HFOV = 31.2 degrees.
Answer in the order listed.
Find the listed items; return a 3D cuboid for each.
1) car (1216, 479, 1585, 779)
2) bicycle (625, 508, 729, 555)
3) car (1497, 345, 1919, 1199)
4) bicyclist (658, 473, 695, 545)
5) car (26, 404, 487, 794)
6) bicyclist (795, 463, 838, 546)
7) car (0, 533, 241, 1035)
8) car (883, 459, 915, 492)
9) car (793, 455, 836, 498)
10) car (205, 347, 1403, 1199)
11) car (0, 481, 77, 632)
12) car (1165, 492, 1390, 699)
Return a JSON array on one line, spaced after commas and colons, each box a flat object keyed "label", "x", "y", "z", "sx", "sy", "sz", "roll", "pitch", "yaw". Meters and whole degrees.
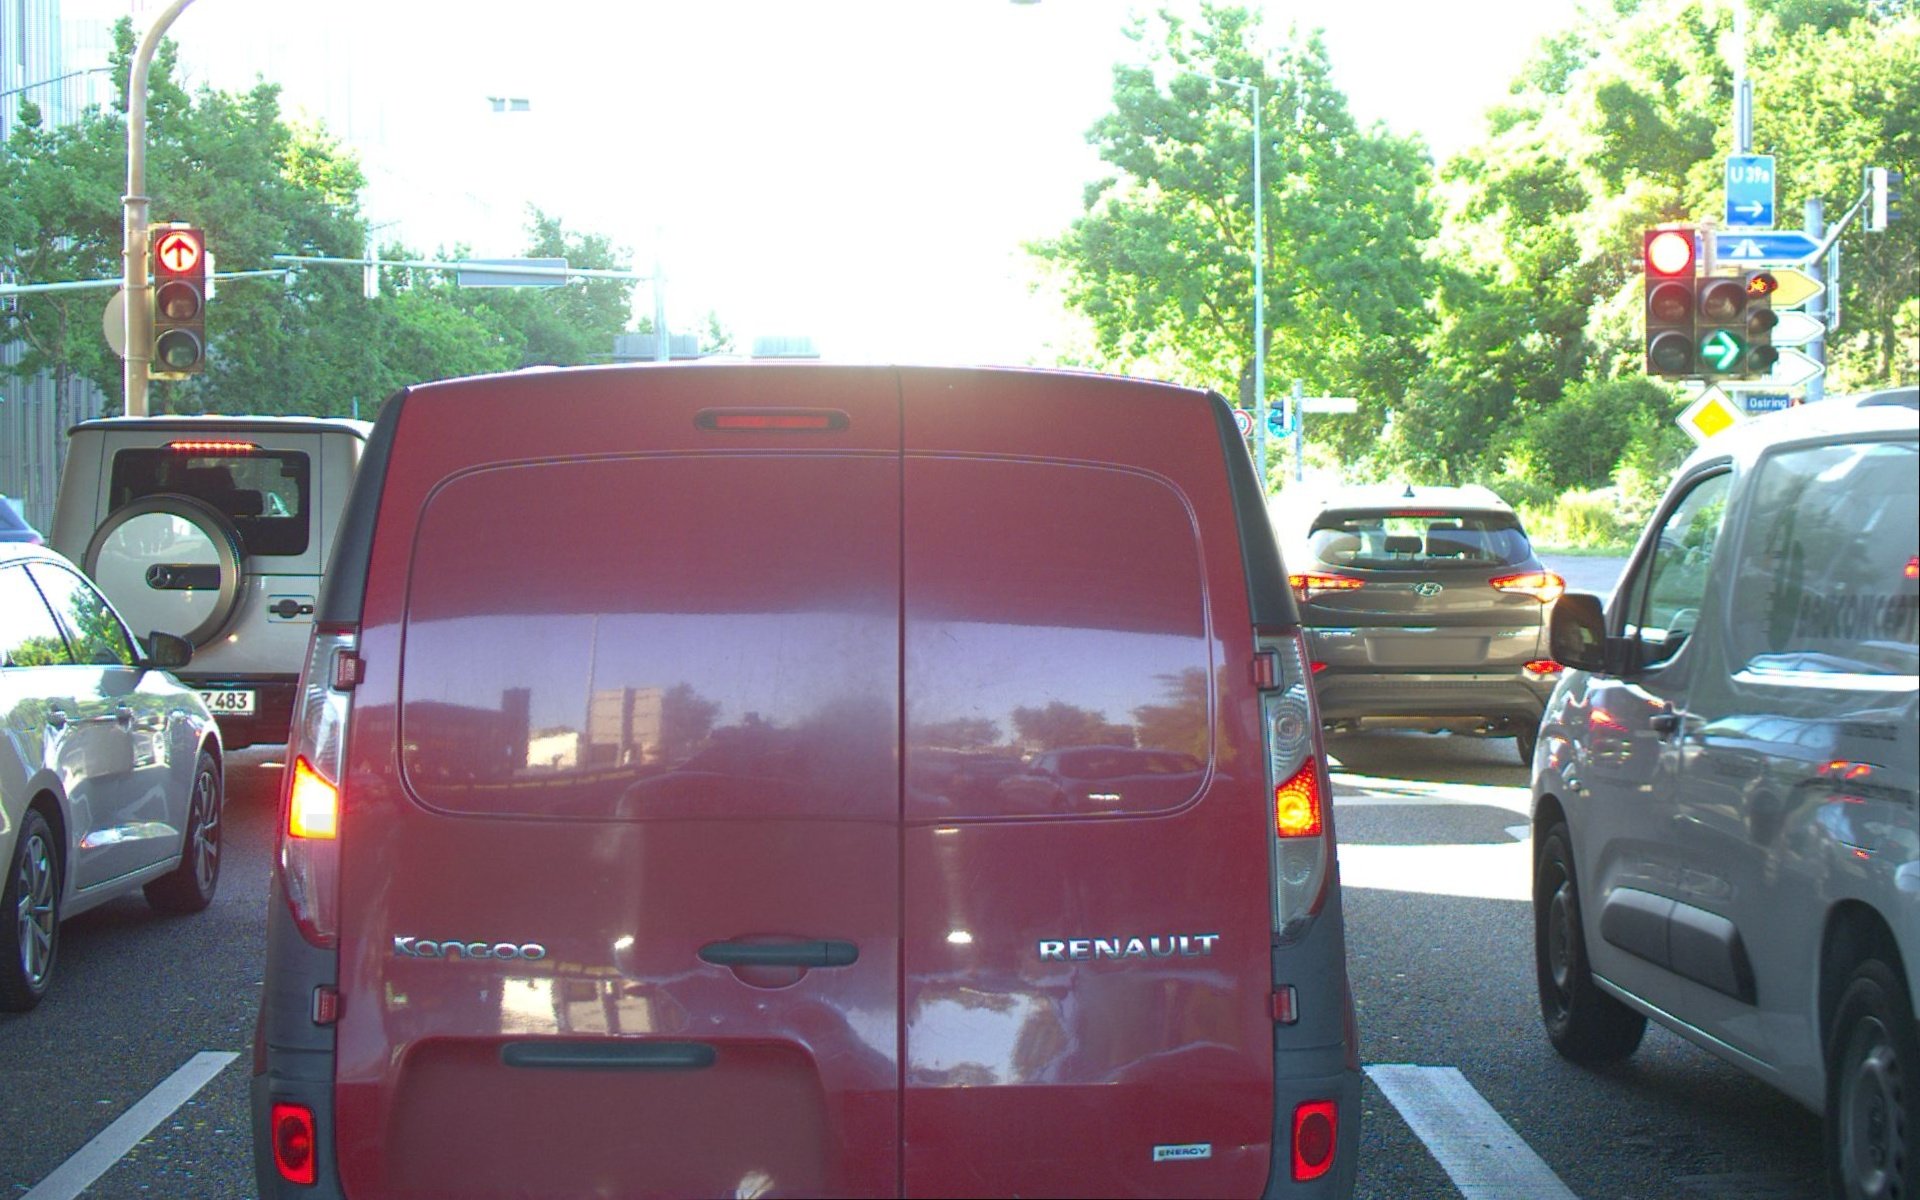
[{"label": "car", "x": 2.603, "y": 0.111, "z": 21.170, "sx": 1.778, "sy": 1.650, "sz": 3.990, "roll": 1, "pitch": 1, "yaw": 1}, {"label": "bicycle", "x": -5.277, "y": -1.279, "z": 64.145, "sx": 1.912, "sy": 0.864, "sz": 0.605, "roll": 0, "pitch": 1, "yaw": -4}, {"label": "car", "x": 2.564, "y": 0.419, "z": 7.925, "sx": 1.813, "sy": 1.827, "sz": 4.301, "roll": 1, "pitch": 2, "yaw": -2}, {"label": "bicyclist", "x": -5.283, "y": -1.686, "z": 64.137, "sx": 0.652, "sy": 1.325, "sz": 0.603, "roll": 1, "pitch": 0, "yaw": -4}, {"label": "car", "x": -3.727, "y": -0.042, "z": 18.841, "sx": 1.813, "sy": 1.897, "sz": 3.814, "roll": 1, "pitch": 1, "yaw": -1}, {"label": "bicyclist", "x": -2.667, "y": -1.765, "z": 63.902, "sx": 0.755, "sy": 1.537, "sz": 0.697, "roll": 0, "pitch": 1, "yaw": 0}, {"label": "car", "x": -3.608, "y": 0.481, "z": 11.503, "sx": 1.692, "sy": 1.405, "sz": 3.814, "roll": 1, "pitch": 1, "yaw": -2}, {"label": "car", "x": -3.915, "y": -7.986, "z": 220.651, "sx": 1.993, "sy": 2.007, "sz": 4.000, "roll": 1, "pitch": 1, "yaw": -1}, {"label": "car", "x": -7.269, "y": -6.178, "z": 172.573, "sx": 1.993, "sy": 2.007, "sz": 4.000, "roll": 1, "pitch": 1, "yaw": -1}, {"label": "car", "x": -0.253, "y": 0.483, "z": 6.984, "sx": 1.719, "sy": 1.758, "sz": 4.000, "roll": 1, "pitch": 1, "yaw": -1}, {"label": "car", "x": -11.667, "y": -0.483, "z": 36.048, "sx": 1.998, "sy": 1.602, "sz": 4.352, "roll": 2, "pitch": 1, "yaw": 36}, {"label": "car", "x": 2.548, "y": -0.095, "z": 28.325, "sx": 1.652, "sy": 1.546, "sz": 3.864, "roll": 1, "pitch": 2, "yaw": 3}]
